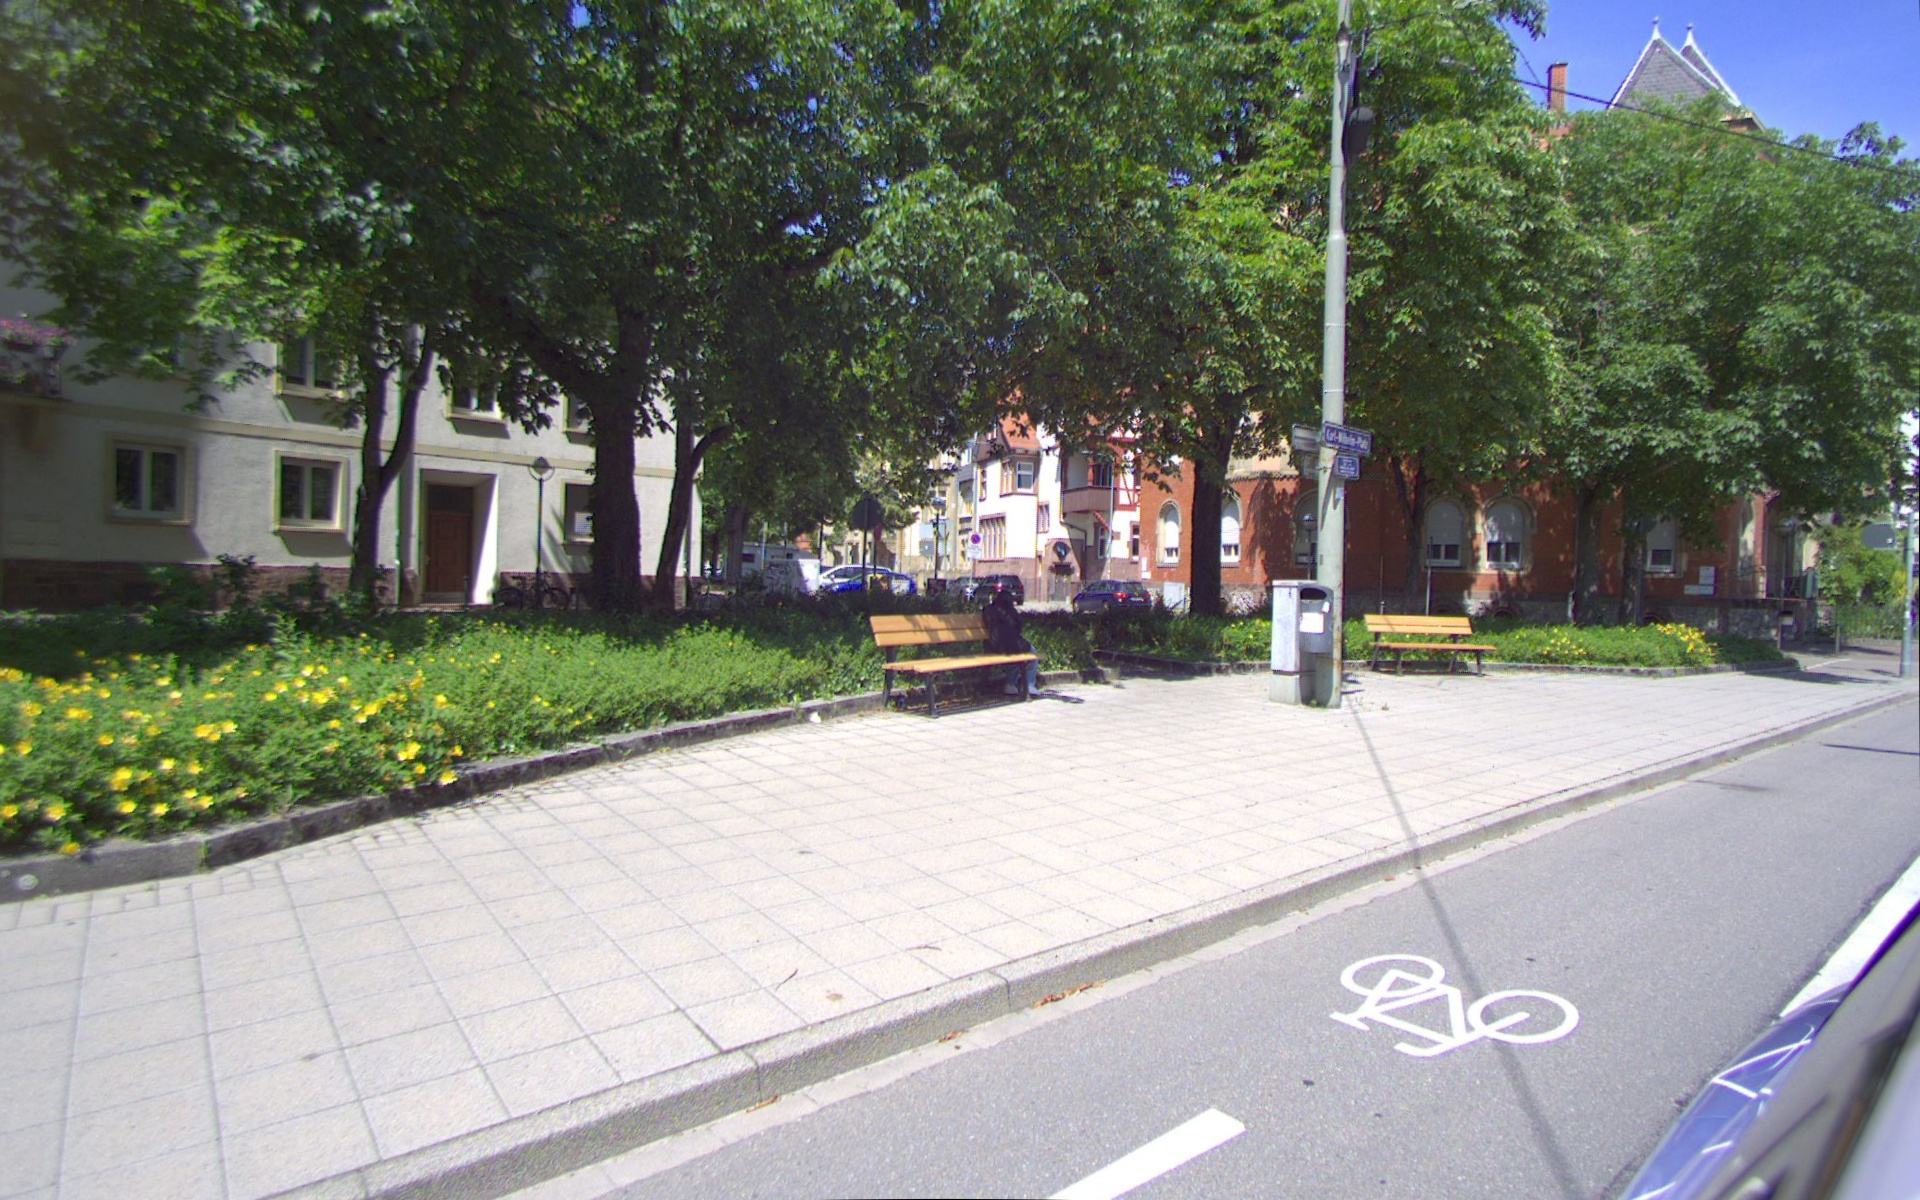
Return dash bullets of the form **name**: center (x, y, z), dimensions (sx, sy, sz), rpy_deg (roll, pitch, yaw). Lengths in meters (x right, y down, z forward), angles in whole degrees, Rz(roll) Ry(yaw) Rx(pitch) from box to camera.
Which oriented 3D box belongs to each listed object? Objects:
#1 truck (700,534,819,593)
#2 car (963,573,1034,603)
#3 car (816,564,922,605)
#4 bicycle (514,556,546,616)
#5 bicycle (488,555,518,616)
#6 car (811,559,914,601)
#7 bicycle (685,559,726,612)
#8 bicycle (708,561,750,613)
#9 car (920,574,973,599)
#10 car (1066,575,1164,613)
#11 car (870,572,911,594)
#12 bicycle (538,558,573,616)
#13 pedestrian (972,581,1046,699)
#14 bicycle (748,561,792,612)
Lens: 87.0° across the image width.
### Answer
- **truck**: center (-11.964, -2.164, 60.577), dimensions (6.685, 3.193, 1.939), rpy_deg (2, 0, -19)
- **car**: center (2.004, -0.685, 54.541), dimensions (1.946, 1.551, 5.503), rpy_deg (0, 1, -19)
- **car**: center (-3.607, -0.599, 40.011), dimensions (3.807, 1.447, 1.731), rpy_deg (2, 0, -21)
- **bicycle**: center (-10.233, -0.337, 24.032), dimensions (0.505, 1.364, 2.247), rpy_deg (0, 1, -28)
- **bicycle**: center (-10.738, -0.359, 23.751), dimensions (0.505, 1.361, 2.332), rpy_deg (0, 1, -28)
- **car**: center (-4.338, -0.882, 44.941), dimensions (4.176, 1.673, 1.731), rpy_deg (2, 0, -21)
- **bicycle**: center (-6.675, -0.389, 26.446), dimensions (0.536, 1.316, 2.162), rpy_deg (0, 1, -28)
- **bicycle**: center (-6.110, -0.354, 26.695), dimensions (0.536, 1.316, 2.162), rpy_deg (0, 1, -28)
- **car**: center (-0.899, -0.880, 63.516), dimensions (1.865, 1.482, 4.626), rpy_deg (0, 1, -21)
- **car**: center (6.212, -0.278, 41.211), dimensions (1.865, 1.459, 4.769), rpy_deg (0, 1, -21)
- **car**: center (-5.159, -1.273, 74.477), dimensions (1.865, 1.575, 4.411), rpy_deg (0, 1, -21)
- **bicycle**: center (-9.599, -0.330, 23.999), dimensions (0.536, 1.316, 2.162), rpy_deg (0, 1, -28)
- **pedestrian**: center (0.481, 0.384, 10.000), dimensions (0.469, 1.105, 0.511), rpy_deg (2, 2, -34)
- **bicycle**: center (-5.105, -0.376, 27.080), dimensions (0.536, 1.316, 2.162), rpy_deg (0, 1, -28)
